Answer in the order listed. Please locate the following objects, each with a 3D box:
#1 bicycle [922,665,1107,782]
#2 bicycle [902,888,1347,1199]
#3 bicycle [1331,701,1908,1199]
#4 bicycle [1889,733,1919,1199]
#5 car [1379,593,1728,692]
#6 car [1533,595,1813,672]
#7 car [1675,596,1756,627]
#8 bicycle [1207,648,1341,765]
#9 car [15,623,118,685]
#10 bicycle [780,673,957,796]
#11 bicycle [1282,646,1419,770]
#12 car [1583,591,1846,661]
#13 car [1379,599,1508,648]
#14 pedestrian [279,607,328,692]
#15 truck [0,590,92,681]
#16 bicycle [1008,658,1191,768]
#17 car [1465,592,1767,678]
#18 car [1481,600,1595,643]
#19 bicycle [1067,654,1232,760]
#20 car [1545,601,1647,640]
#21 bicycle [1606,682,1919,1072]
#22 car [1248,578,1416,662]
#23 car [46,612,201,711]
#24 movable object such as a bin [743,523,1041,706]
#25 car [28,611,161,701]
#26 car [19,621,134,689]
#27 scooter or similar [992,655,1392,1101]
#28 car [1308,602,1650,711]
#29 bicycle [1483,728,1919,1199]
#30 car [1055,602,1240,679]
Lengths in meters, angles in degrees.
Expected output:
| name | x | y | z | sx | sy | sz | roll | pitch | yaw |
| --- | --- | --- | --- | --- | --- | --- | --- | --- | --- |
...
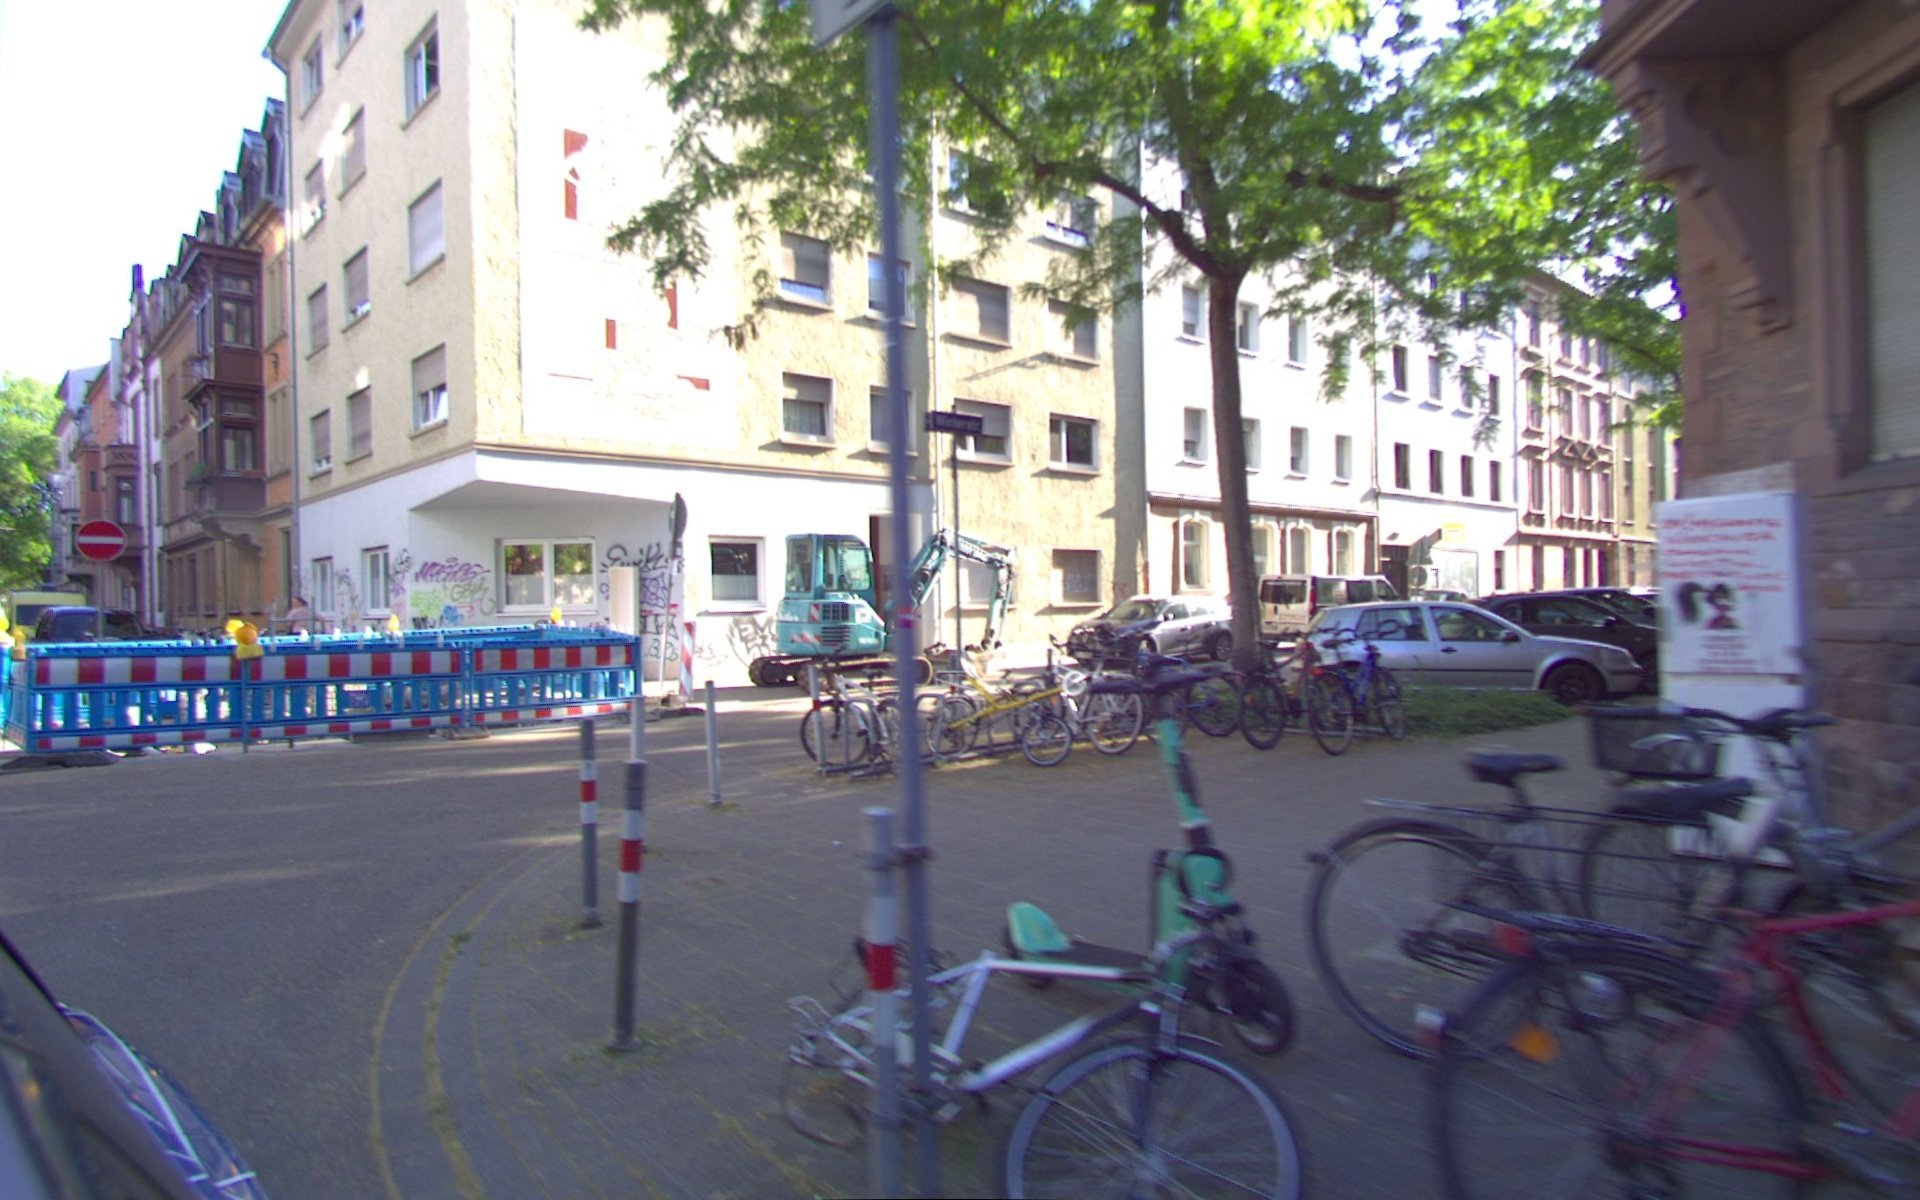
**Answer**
| name | x | y | z | sx | sy | sz | roll | pitch | yaw |
| --- | --- | --- | --- | --- | --- | --- | --- | --- | --- |
| bicycle | 0.450 | 1.071 | 9.143 | 0.485 | 0.933 | 1.758 | -1 | -2 | -45 |
| bicycle | 0.421 | 1.189 | 2.910 | 1.197 | 0.446 | 0.445 | -4 | -2 | 41 |
| bicycle | 1.644 | 0.812 | 2.673 | 1.197 | 1.050 | 0.231 | -4 | -2 | 41 |
| bicycle | 2.319 | 0.801 | 1.604 | 0.230 | 1.050 | 1.201 | -2 | 0 | -35 |
| car | 8.679 | 0.572 | 15.258 | 4.203 | 1.327 | 1.893 | 0 | 1 | 18 |
| car | 13.253 | 0.584 | 19.100 | 3.955 | 1.327 | 1.762 | 0 | 1 | 18 |
| car | 35.187 | 0.484 | 47.094 | 4.277 | 1.350 | 2.004 | 0 | 1 | -39 |
| bicycle | 2.881 | 0.945 | 9.230 | 1.401 | 0.933 | 0.313 | -2 | -2 | -34 |
| car | -25.806 | 1.491 | 29.189 | 4.002 | 1.604 | 1.971 | -1 | -1 | 45 |
| bicycle | -0.835 | 1.119 | 8.781 | 0.485 | 0.933 | 1.758 | -1 | -2 | -45 |
| bicycle | 3.390 | 0.902 | 8.739 | 1.401 | 0.933 | 0.313 | -2 | -2 | -34 |
| car | 15.325 | 0.487 | 20.810 | 3.955 | 1.327 | 1.762 | 0 | 1 | 18 |
| car | 14.831 | 0.663 | 30.955 | 4.277 | 1.350 | 1.904 | 0 | 1 | -39 |
| pedestrian | -12.799 | 0.947 | 19.727 | 0.597 | 1.607 | 0.662 | -2 | -1 | 41 |
| truck | -29.750 | 1.119 | 32.810 | 5.887 | 2.679 | 1.944 | -1 | -2 | 45 |
| bicycle | 1.290 | 1.039 | 9.639 | 0.485 | 0.933 | 1.758 | -1 | -2 | -45 |
| car | 10.942 | 0.533 | 17.222 | 3.955 | 1.327 | 1.762 | 0 | 1 | 18 |
| car | 20.125 | 0.712 | 35.193 | 4.277 | 1.350 | 2.004 | 0 | 1 | -39 |
| bicycle | 1.832 | 1.013 | 10.036 | 0.484 | 0.933 | 1.762 | -1 | -2 | -33 |
| car | 24.208 | 0.729 | 38.462 | 4.277 | 1.350 | 2.004 | 0 | 1 | -39 |
| bicycle | 2.726 | 0.774 | 2.864 | 0.230 | 1.050 | 1.453 | -1 | -2 | -44 |
| car | 9.841 | 0.450 | 26.596 | 4.692 | 2.021 | 2.004 | 0 | 1 | -39 |
| car | -16.438 | 1.133 | 19.824 | 3.998 | 1.718 | 1.753 | -1 | -1 | 41 |
| movable object such as a bin | -1.065 | 0.166 | 17.807 | 5.076 | 2.768 | 2.003 | -1 | 2 | -42 |
| car | -19.918 | 1.219 | 23.238 | 3.998 | 1.866 | 1.781 | -1 | -1 | 41 |
| car | -22.915 | 1.355 | 26.202 | 4.002 | 1.604 | 1.971 | -1 | -1 | 45 |
| scooter or similar | 0.709 | 0.797 | 3.329 | 0.440 | 1.183 | 1.165 | -1 | -3 | -45 |
| car | 6.492 | 0.658 | 13.111 | 3.713 | 1.232 | 1.584 | 0 | 1 | 18 |
| bicycle | 1.824 | 0.763 | 1.756 | 1.662 | 1.050 | 0.233 | -1 | 2 | 5 |
| car | 4.072 | 0.801 | 21.729 | 3.937 | 1.452 | 1.818 | 0 | 1 | -40 |
